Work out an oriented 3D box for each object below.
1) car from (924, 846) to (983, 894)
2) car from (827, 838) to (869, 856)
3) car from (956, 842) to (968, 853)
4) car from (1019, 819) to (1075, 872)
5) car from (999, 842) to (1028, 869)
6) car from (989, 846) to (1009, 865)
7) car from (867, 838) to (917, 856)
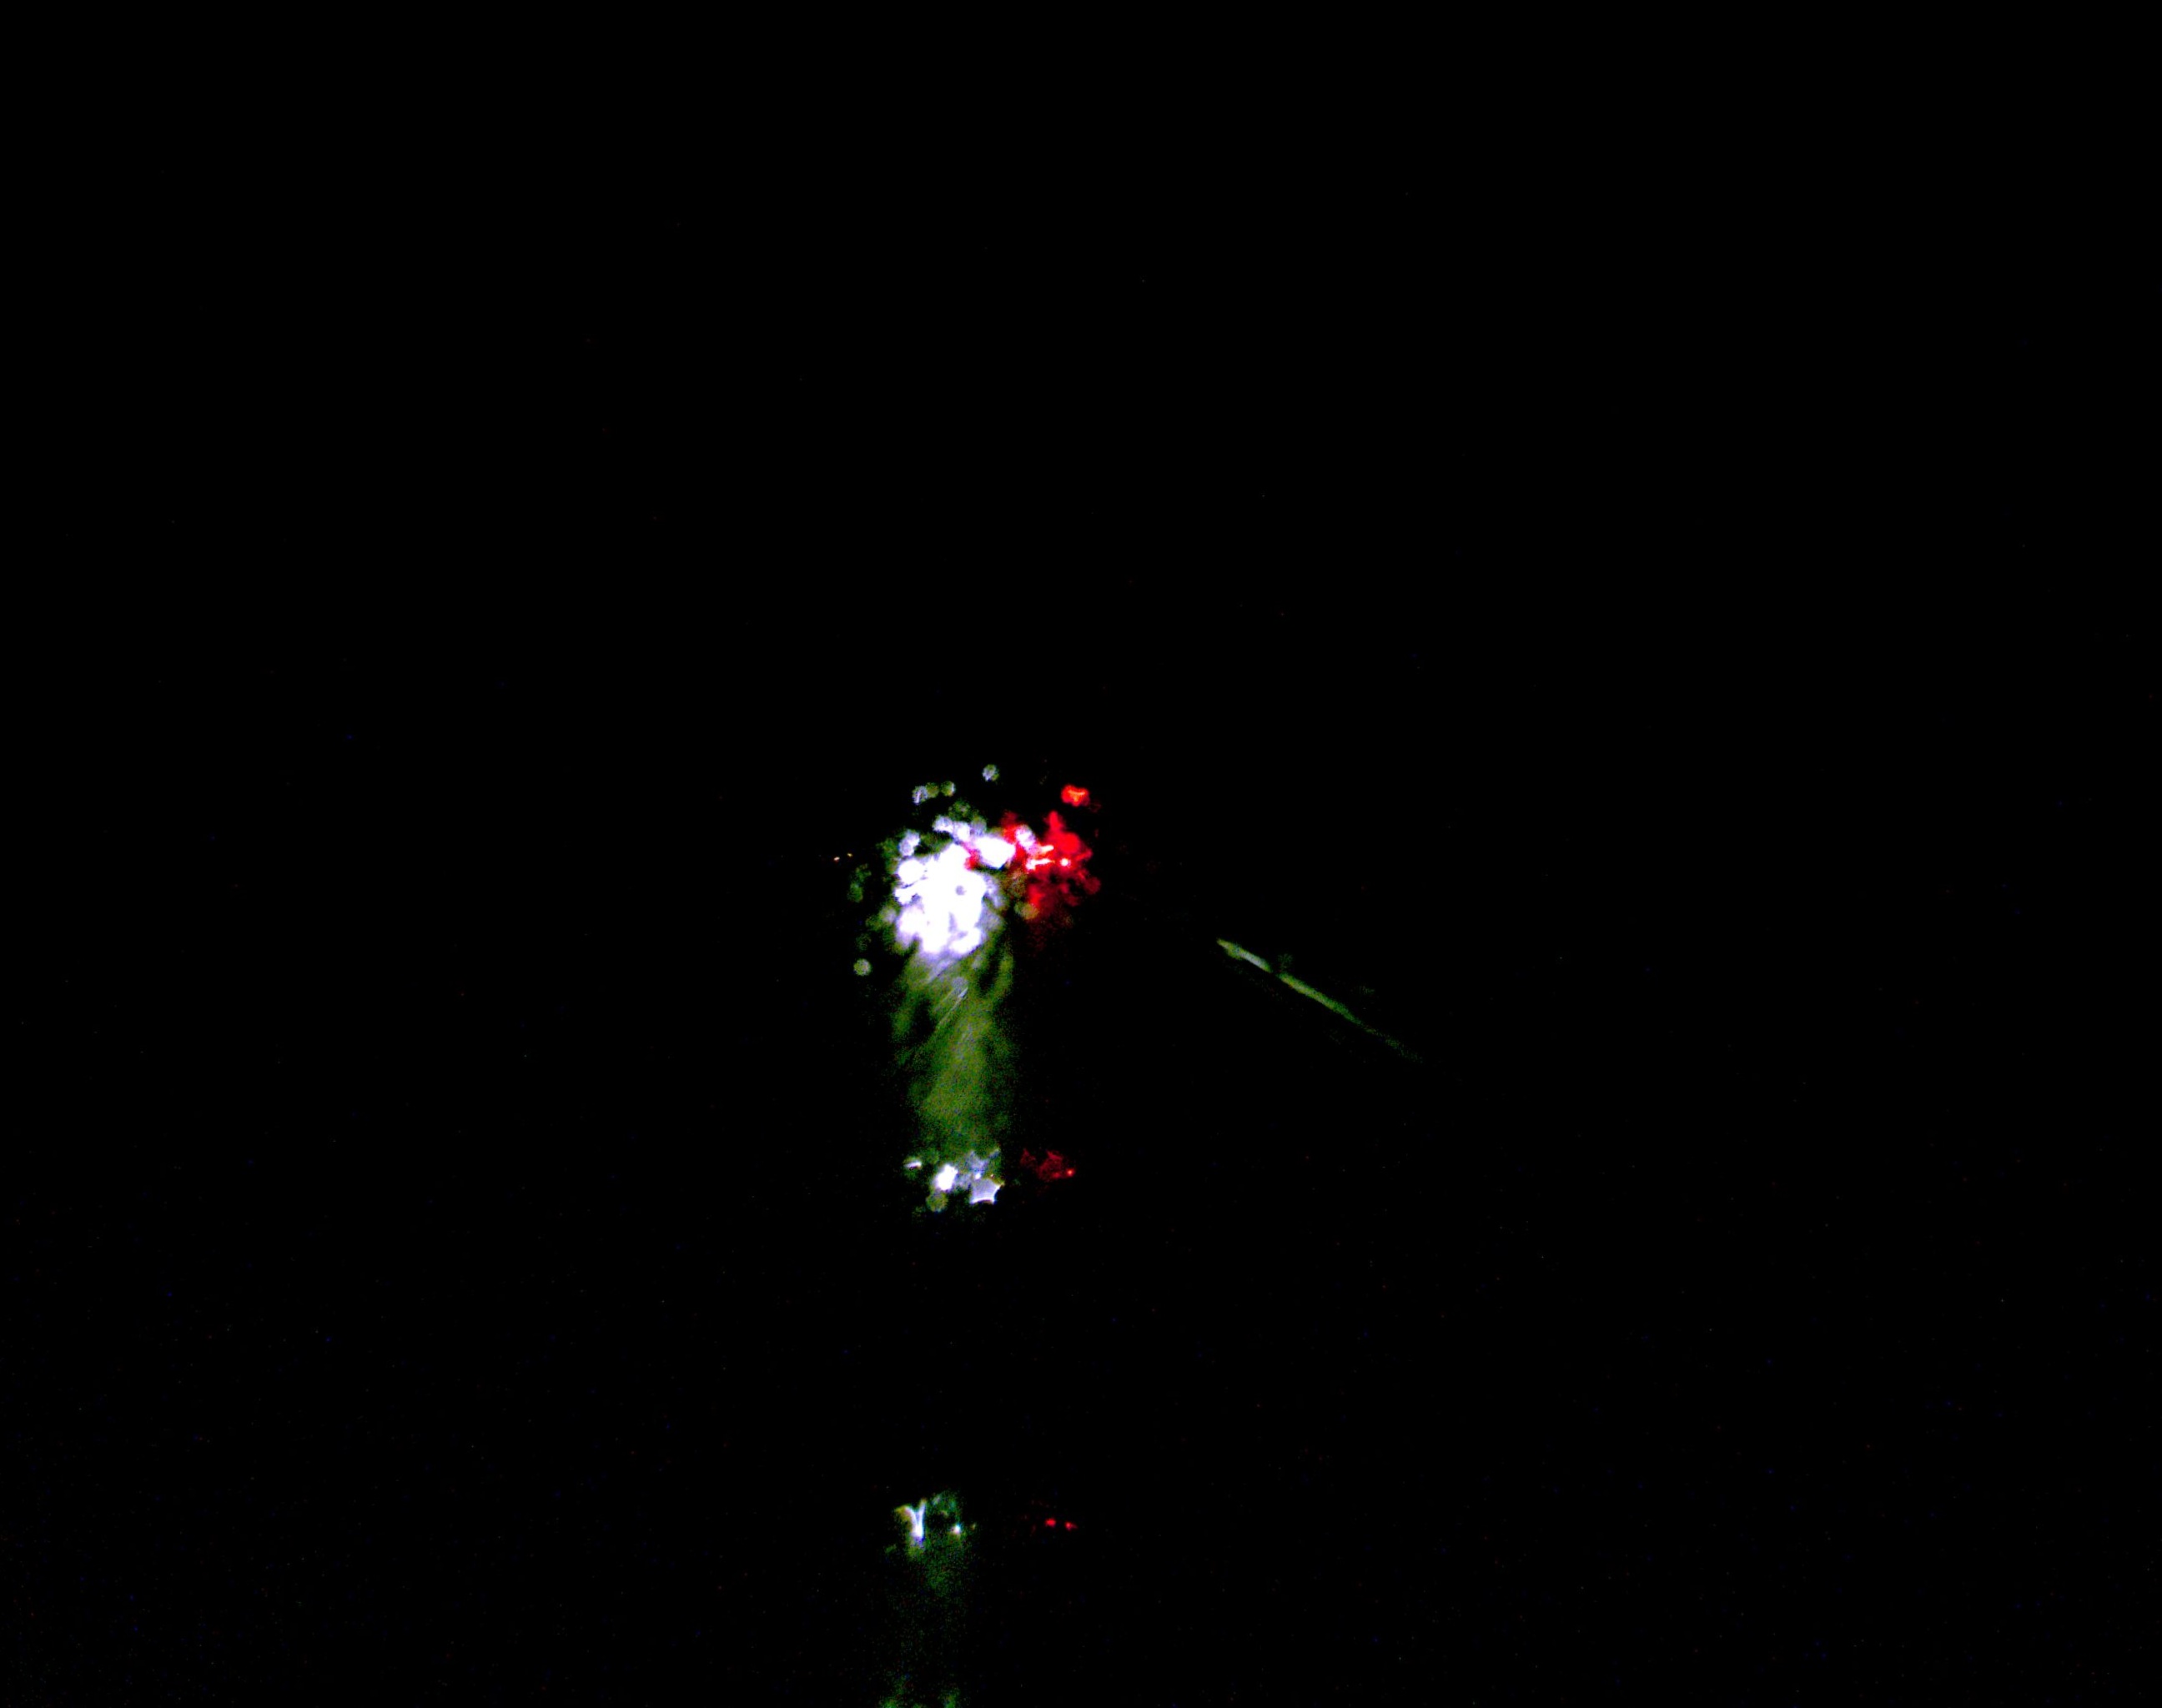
[{"bbox_3d":[-4.468,0.533,29.015,1.632,1.510,4.090,-2,0,-3],"label":"car"},{"bbox_3d":[-24.701,-0.720,86.404,4.159,1.687,1.685,-2,-1,-16],"label":"car"},{"bbox_3d":[-19.683,-1.076,134.431,1.754,1.734,3.986,2,1,-11],"label":"car"},{"bbox_3d":[-1.858,-0.431,42.350,2.536,2.498,5.702,-1,1,-6],"label":"car"},{"bbox_3d":[-5.463,0.146,65.778,1.993,2.014,3.987,2,-3,-9],"label":"car"},{"bbox_3d":[-8.175,0.159,80.728,1.739,1.714,3.688,2,-3,-8],"label":"car"},{"bbox_3d":[-19.299,-0.714,83.263,4.916,1.734,1.992,-1,0,-12],"label":"car"}]
